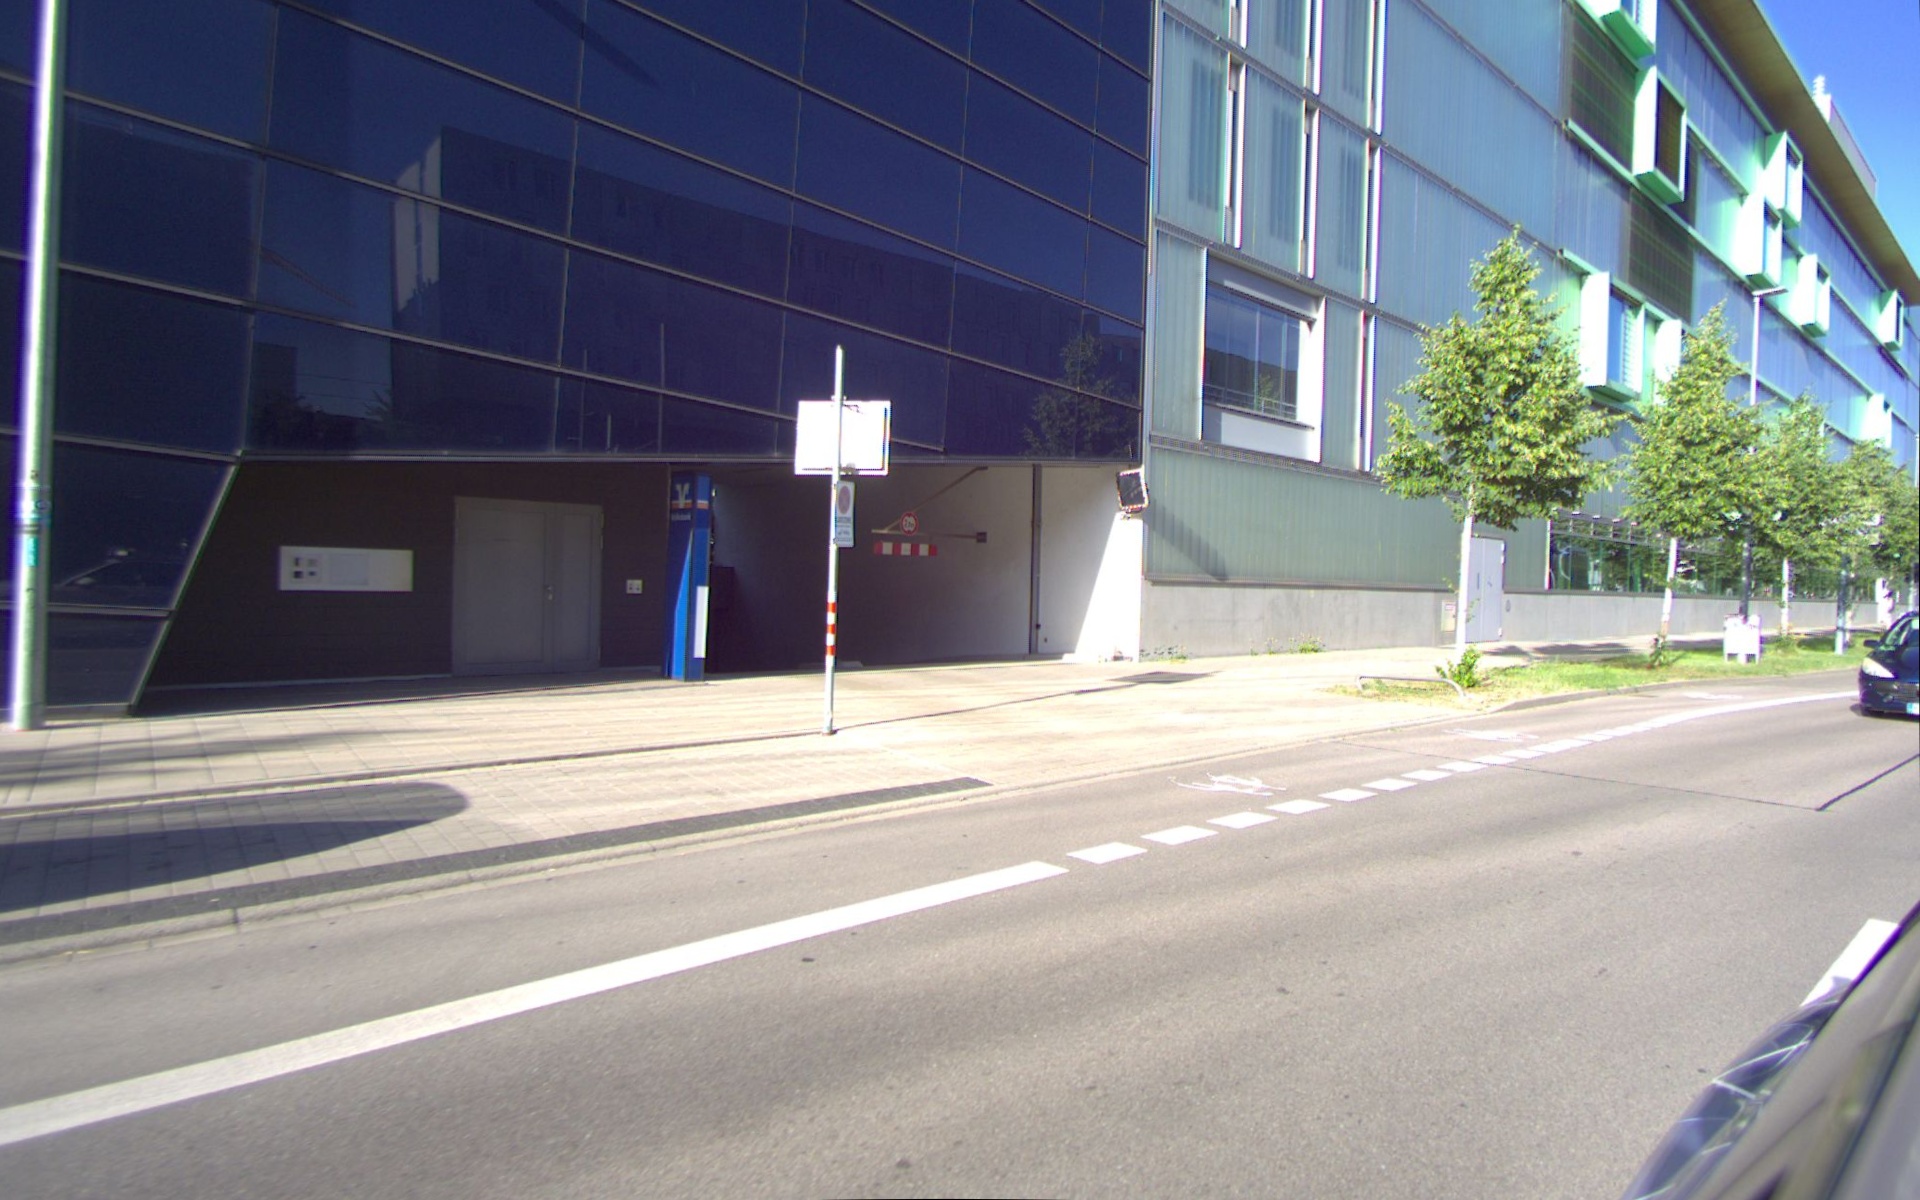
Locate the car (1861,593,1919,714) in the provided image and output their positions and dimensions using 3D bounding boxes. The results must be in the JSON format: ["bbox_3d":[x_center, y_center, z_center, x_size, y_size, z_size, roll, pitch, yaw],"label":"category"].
[{"bbox_3d":[14.290,0.697,14.062,4.520,1.546,1.803,0,0,-37],"label":"car"}]
